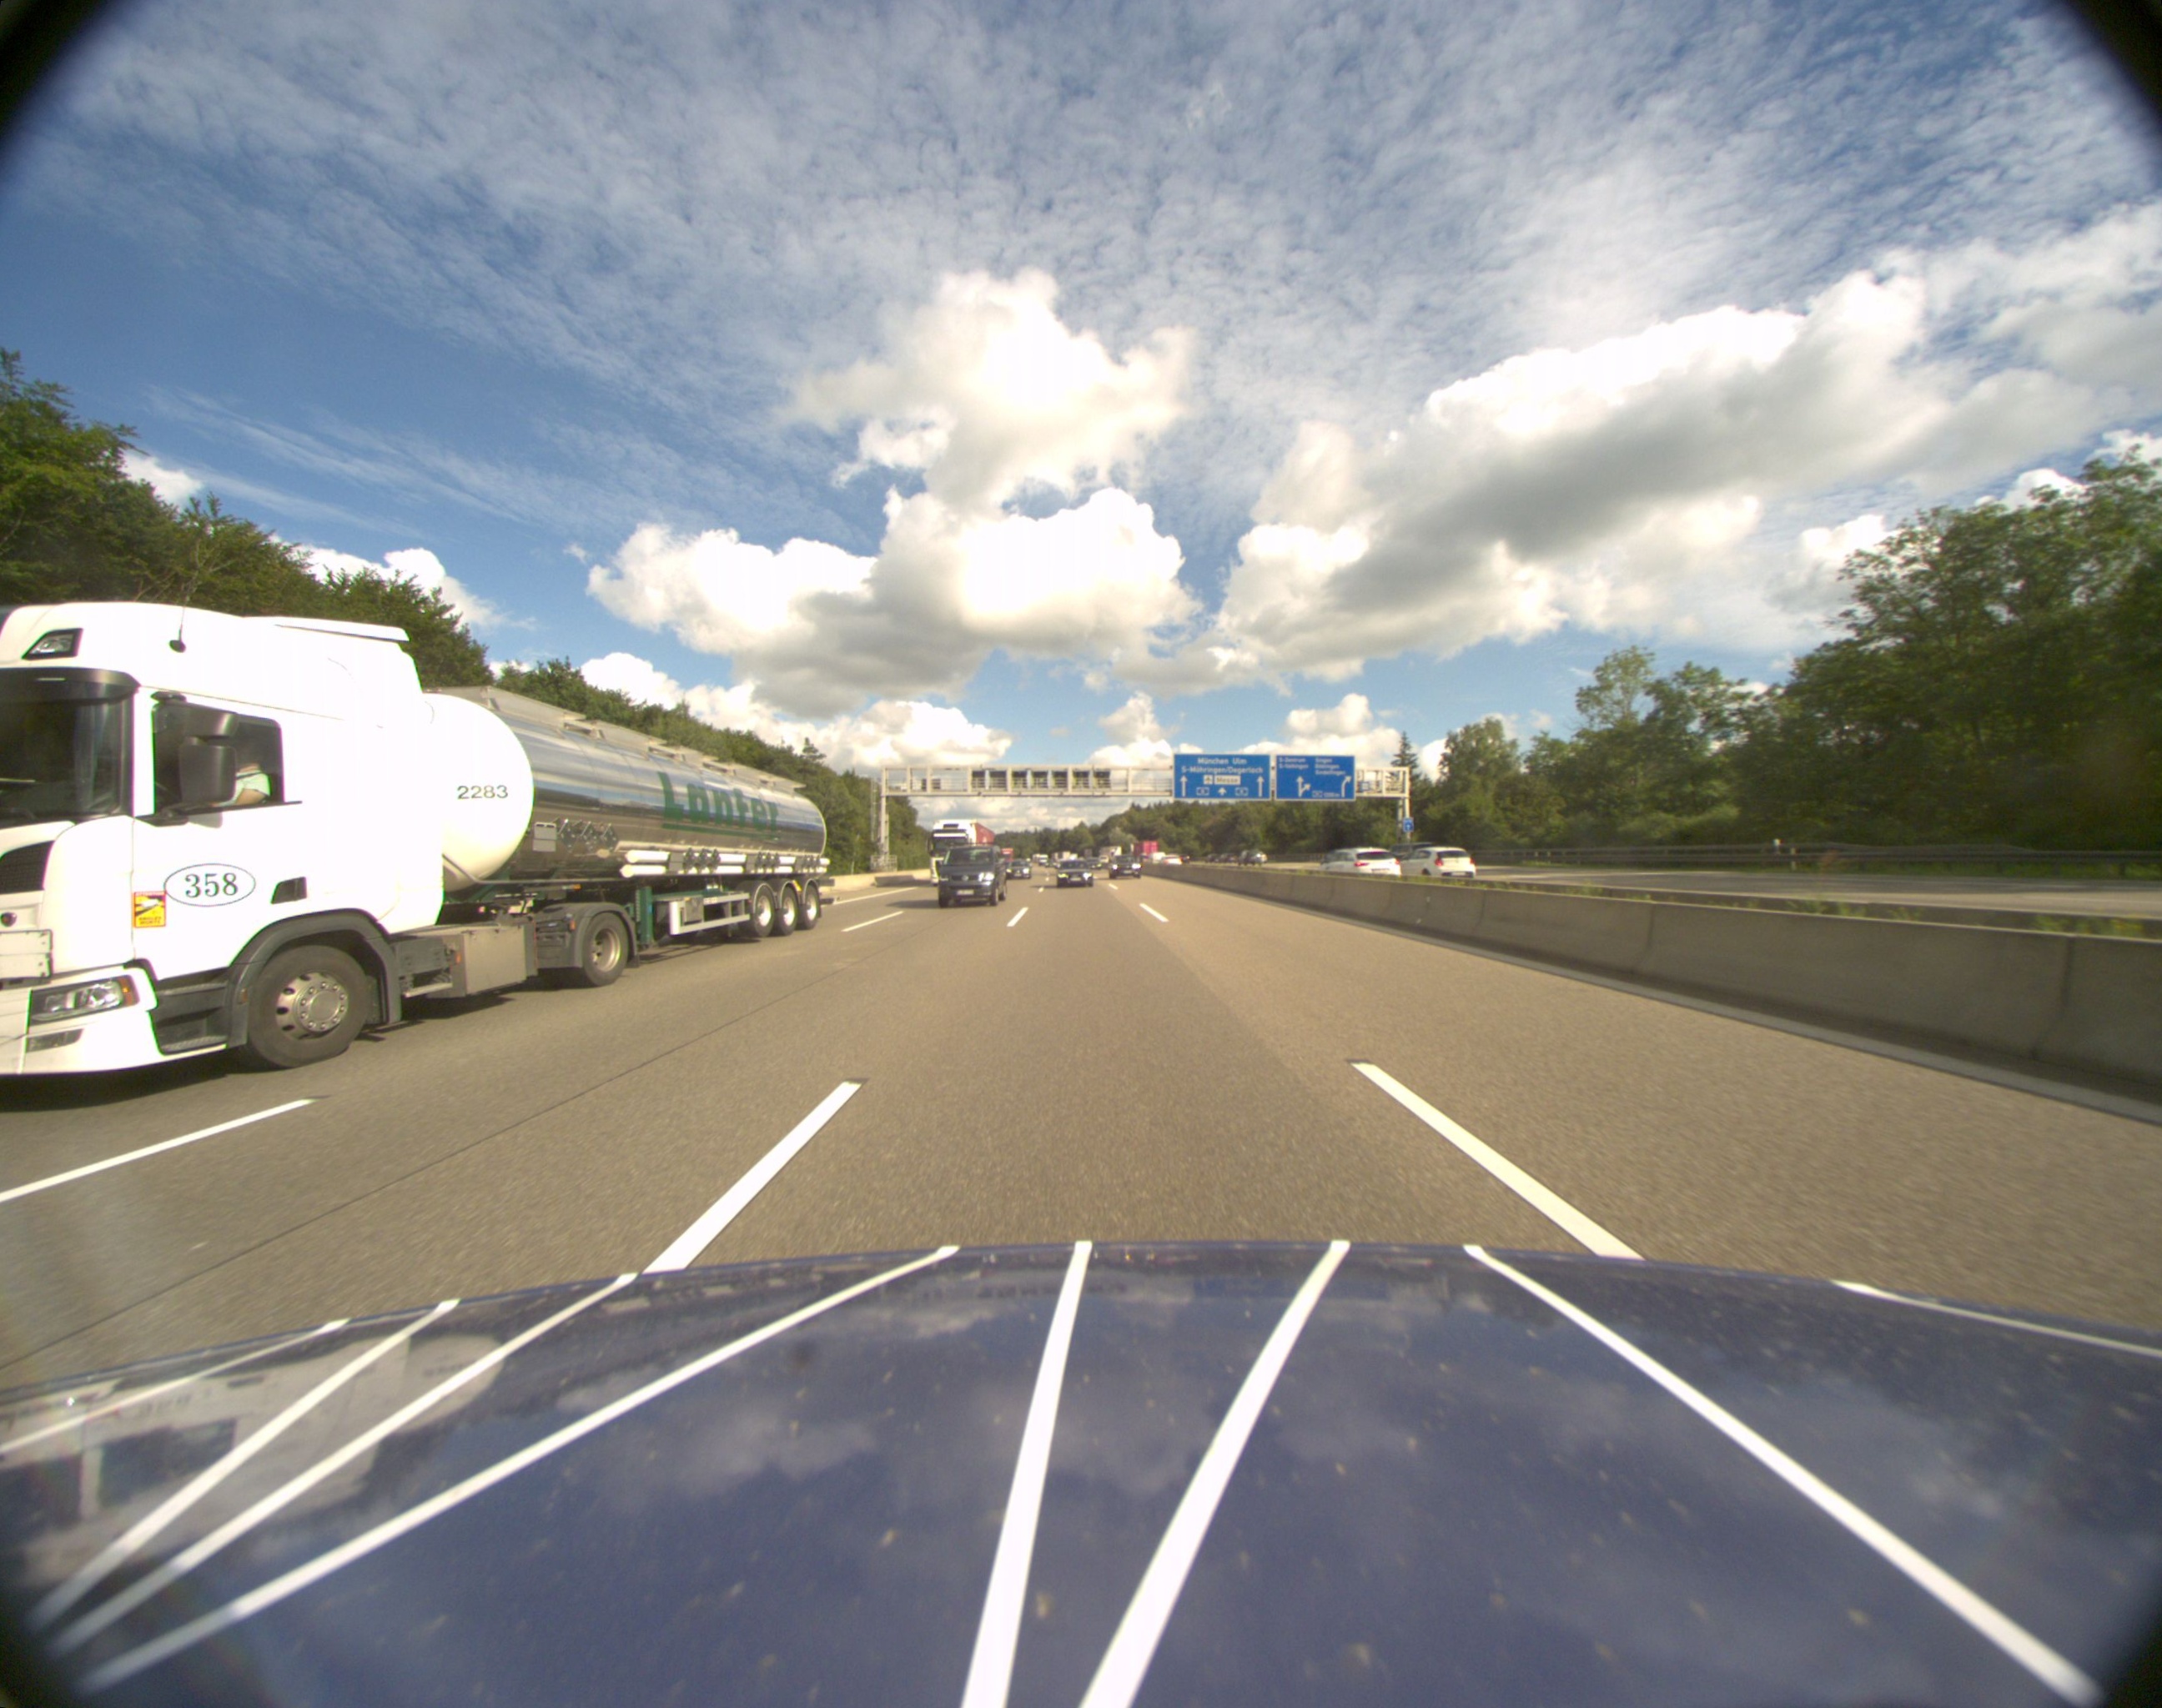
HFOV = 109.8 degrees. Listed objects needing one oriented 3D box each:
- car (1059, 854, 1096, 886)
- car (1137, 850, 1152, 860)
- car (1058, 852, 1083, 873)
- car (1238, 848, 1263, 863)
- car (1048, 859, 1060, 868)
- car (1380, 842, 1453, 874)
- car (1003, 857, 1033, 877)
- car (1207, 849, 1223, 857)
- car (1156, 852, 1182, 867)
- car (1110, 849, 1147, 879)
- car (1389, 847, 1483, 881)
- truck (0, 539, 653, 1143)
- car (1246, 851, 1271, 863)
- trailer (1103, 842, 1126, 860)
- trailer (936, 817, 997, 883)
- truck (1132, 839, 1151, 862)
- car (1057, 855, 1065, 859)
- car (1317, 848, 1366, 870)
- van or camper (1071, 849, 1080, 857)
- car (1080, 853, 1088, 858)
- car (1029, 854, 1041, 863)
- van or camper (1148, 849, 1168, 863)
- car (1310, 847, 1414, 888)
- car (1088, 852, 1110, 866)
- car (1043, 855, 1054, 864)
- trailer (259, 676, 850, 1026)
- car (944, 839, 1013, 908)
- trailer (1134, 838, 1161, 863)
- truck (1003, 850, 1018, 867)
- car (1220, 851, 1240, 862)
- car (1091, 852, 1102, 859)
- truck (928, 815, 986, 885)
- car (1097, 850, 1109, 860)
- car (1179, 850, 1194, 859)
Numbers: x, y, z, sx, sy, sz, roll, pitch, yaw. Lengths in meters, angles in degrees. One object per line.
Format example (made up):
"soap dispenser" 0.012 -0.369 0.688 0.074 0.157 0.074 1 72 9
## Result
"car" -0.224 0.794 39.353 1.733 1.500 4.727 -2 0 -2
"car" 9.846 0.141 118.311 1.703 1.519 4.683 -2 0 -2
"car" -0.998 0.743 69.440 2.153 1.800 5.098 -2 0 -2
"car" 18.532 0.149 83.006 1.670 1.630 4.479 -2 0 0
"car" -4.795 1.712 136.055 2.153 1.540 4.676 -2 0 -2
"car" 17.227 0.178 39.275 1.726 1.470 4.630 -2 0 1
"car" -4.885 0.982 58.702 2.153 1.426 5.097 -2 0 -5
"car" 21.297 -0.193 120.838 1.706 1.280 4.182 -2 0 -3
"car" 8.442 0.519 73.205 1.728 1.302 4.880 -2 0 -2
"car" 3.125 0.604 50.888 2.153 1.800 5.098 -2 0 0
"car" 13.869 0.363 29.983 1.651 1.193 4.440 -2 0 1
"truck" -7.520 -0.050 7.838 2.655 3.801 6.081 -1 0 0
"car" 22.815 0.387 97.770 1.821 1.536 5.129 -2 0 -2
"trailer" 8.055 -0.604 186.424 3.328 4.082 14.146 -2 0 -7
"trailer" -7.949 -0.238 54.512 2.781 4.021 13.709 -2 0 -3
"truck" 11.455 -0.665 144.799 2.747 4.082 5.762 -2 0 -4
"car" -6.073 0.999 234.929 1.817 1.154 4.511 -2 0 -9
"car" 16.931 0.314 49.507 1.641 1.346 3.999 -2 0 -2
"van or camper" -1.866 -0.257 261.447 2.374 2.789 6.595 -2 0 -5
"car" 0.808 0.365 221.259 1.999 1.354 4.380 -2 0 -5
"car" -8.742 0.856 144.068 2.153 1.540 4.675 -2 0 -4
"van or camper" 10.496 0.256 103.821 1.867 1.839 5.153 -2 0 -3
"car" 10.246 0.448 28.158 1.999 1.301 4.832 -2 0 -1
"car" 2.076 0.568 89.033 2.153 1.540 4.676 -2 0 -2
"car" -7.208 1.240 169.792 2.154 1.806 4.674 -2 0 -6
"trailer" -7.506 -0.018 14.169 2.655 3.745 11.859 -1 0 0
"car" -3.426 0.613 26.199 1.854 2.097 4.931 -2 0 -3
"trailer" 11.915 -0.605 138.068 2.747 4.082 13.411 -2 0 -4
"truck" -16.235 1.054 174.890 3.020 3.662 7.556 -1 0 -7
"car" 21.525 0.318 109.728 1.706 1.432 4.706 -2 0 -3
"car" 3.022 0.250 151.464 1.798 1.367 4.547 -2 0 -5
"truck" -7.655 -0.247 47.661 2.781 4.021 5.771 -2 0 -3
"car" 3.980 0.150 138.972 1.774 1.639 4.518 -2 0 -3
"car" 17.393 0.083 125.544 1.706 1.280 3.995 -2 0 -3
